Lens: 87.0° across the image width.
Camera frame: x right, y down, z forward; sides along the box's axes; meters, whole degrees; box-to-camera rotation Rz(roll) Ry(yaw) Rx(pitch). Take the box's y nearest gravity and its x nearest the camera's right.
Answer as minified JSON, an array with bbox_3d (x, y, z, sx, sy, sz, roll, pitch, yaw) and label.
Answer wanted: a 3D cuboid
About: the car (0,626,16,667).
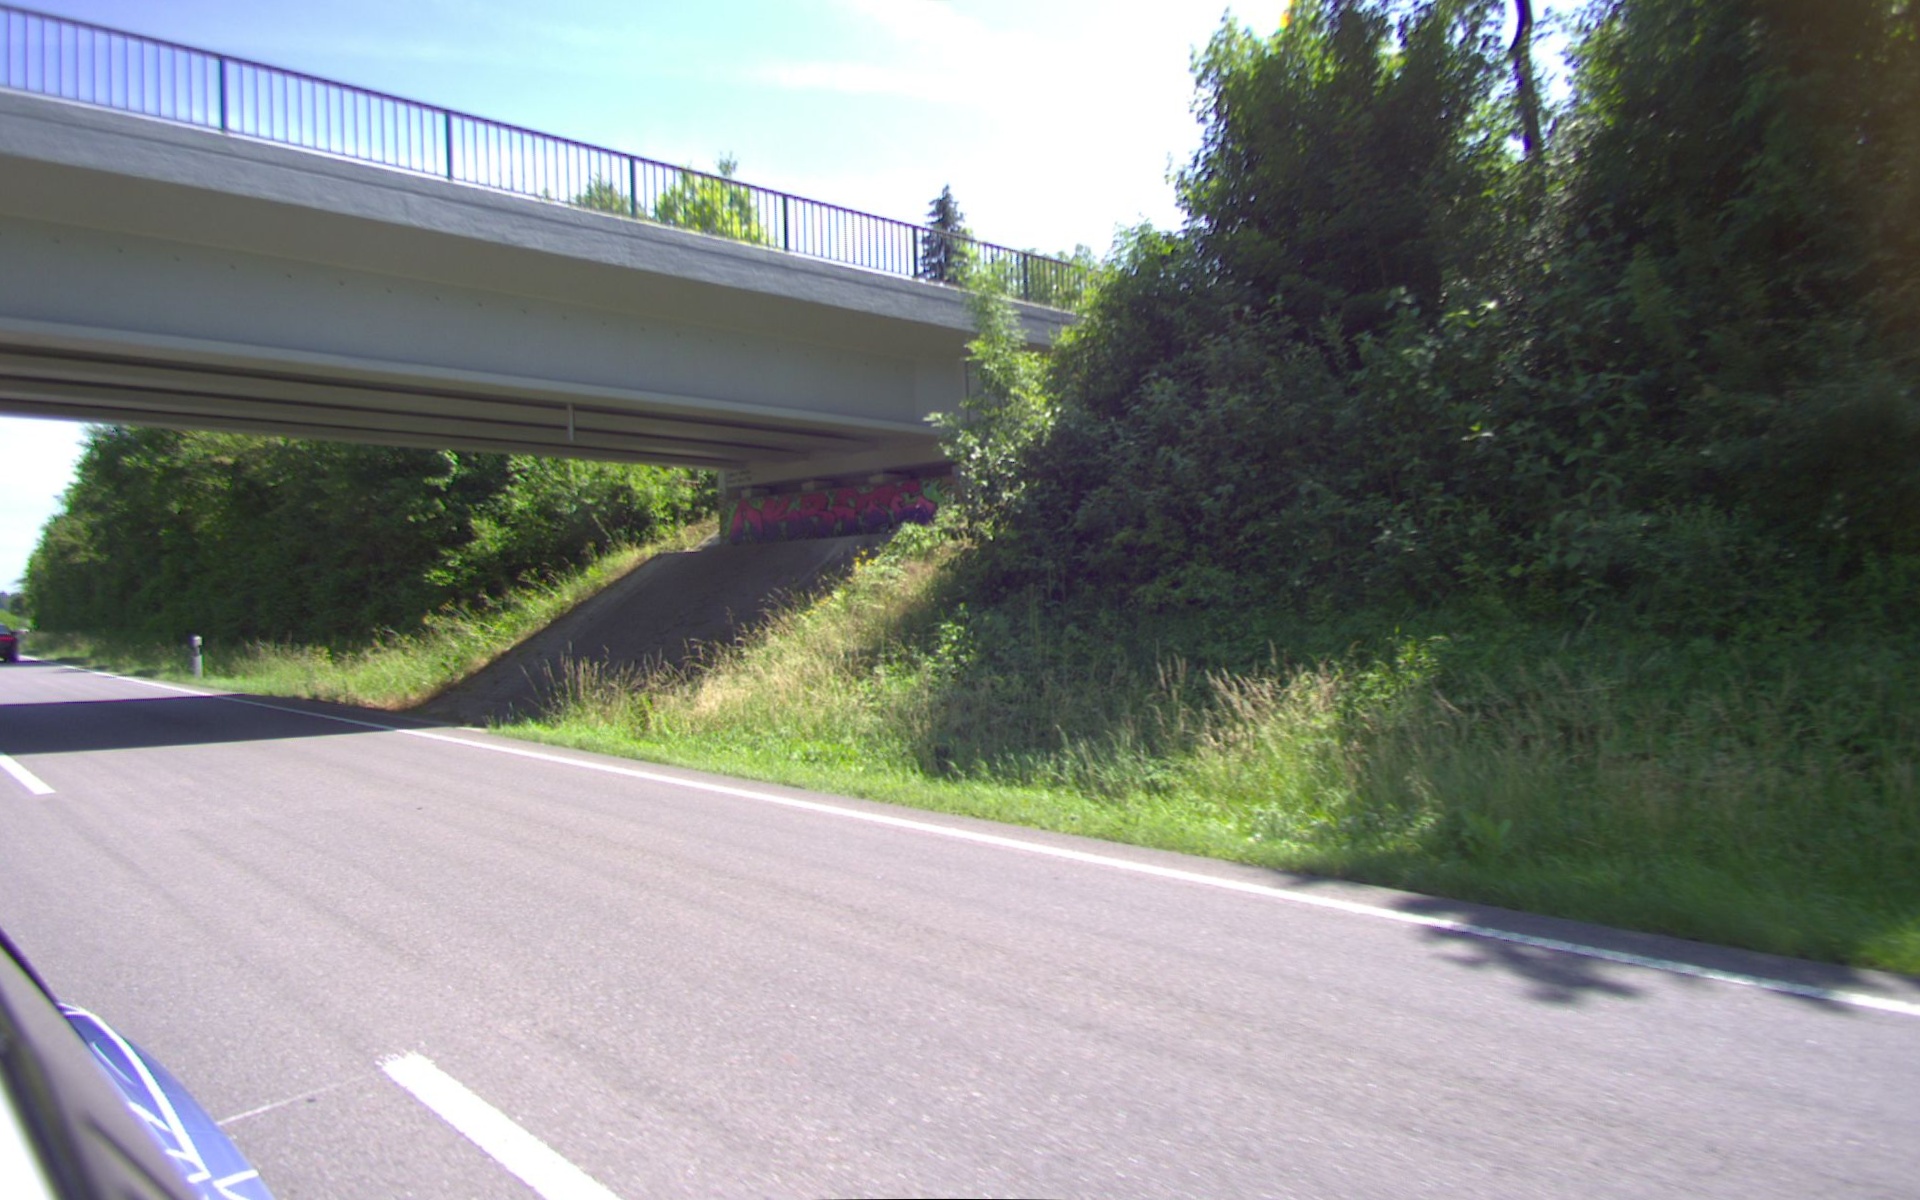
[{"bbox_3d":[-37.531,1.763,38.601,4.586,1.517,1.839,-2,-2,42],"label":"car"}]
